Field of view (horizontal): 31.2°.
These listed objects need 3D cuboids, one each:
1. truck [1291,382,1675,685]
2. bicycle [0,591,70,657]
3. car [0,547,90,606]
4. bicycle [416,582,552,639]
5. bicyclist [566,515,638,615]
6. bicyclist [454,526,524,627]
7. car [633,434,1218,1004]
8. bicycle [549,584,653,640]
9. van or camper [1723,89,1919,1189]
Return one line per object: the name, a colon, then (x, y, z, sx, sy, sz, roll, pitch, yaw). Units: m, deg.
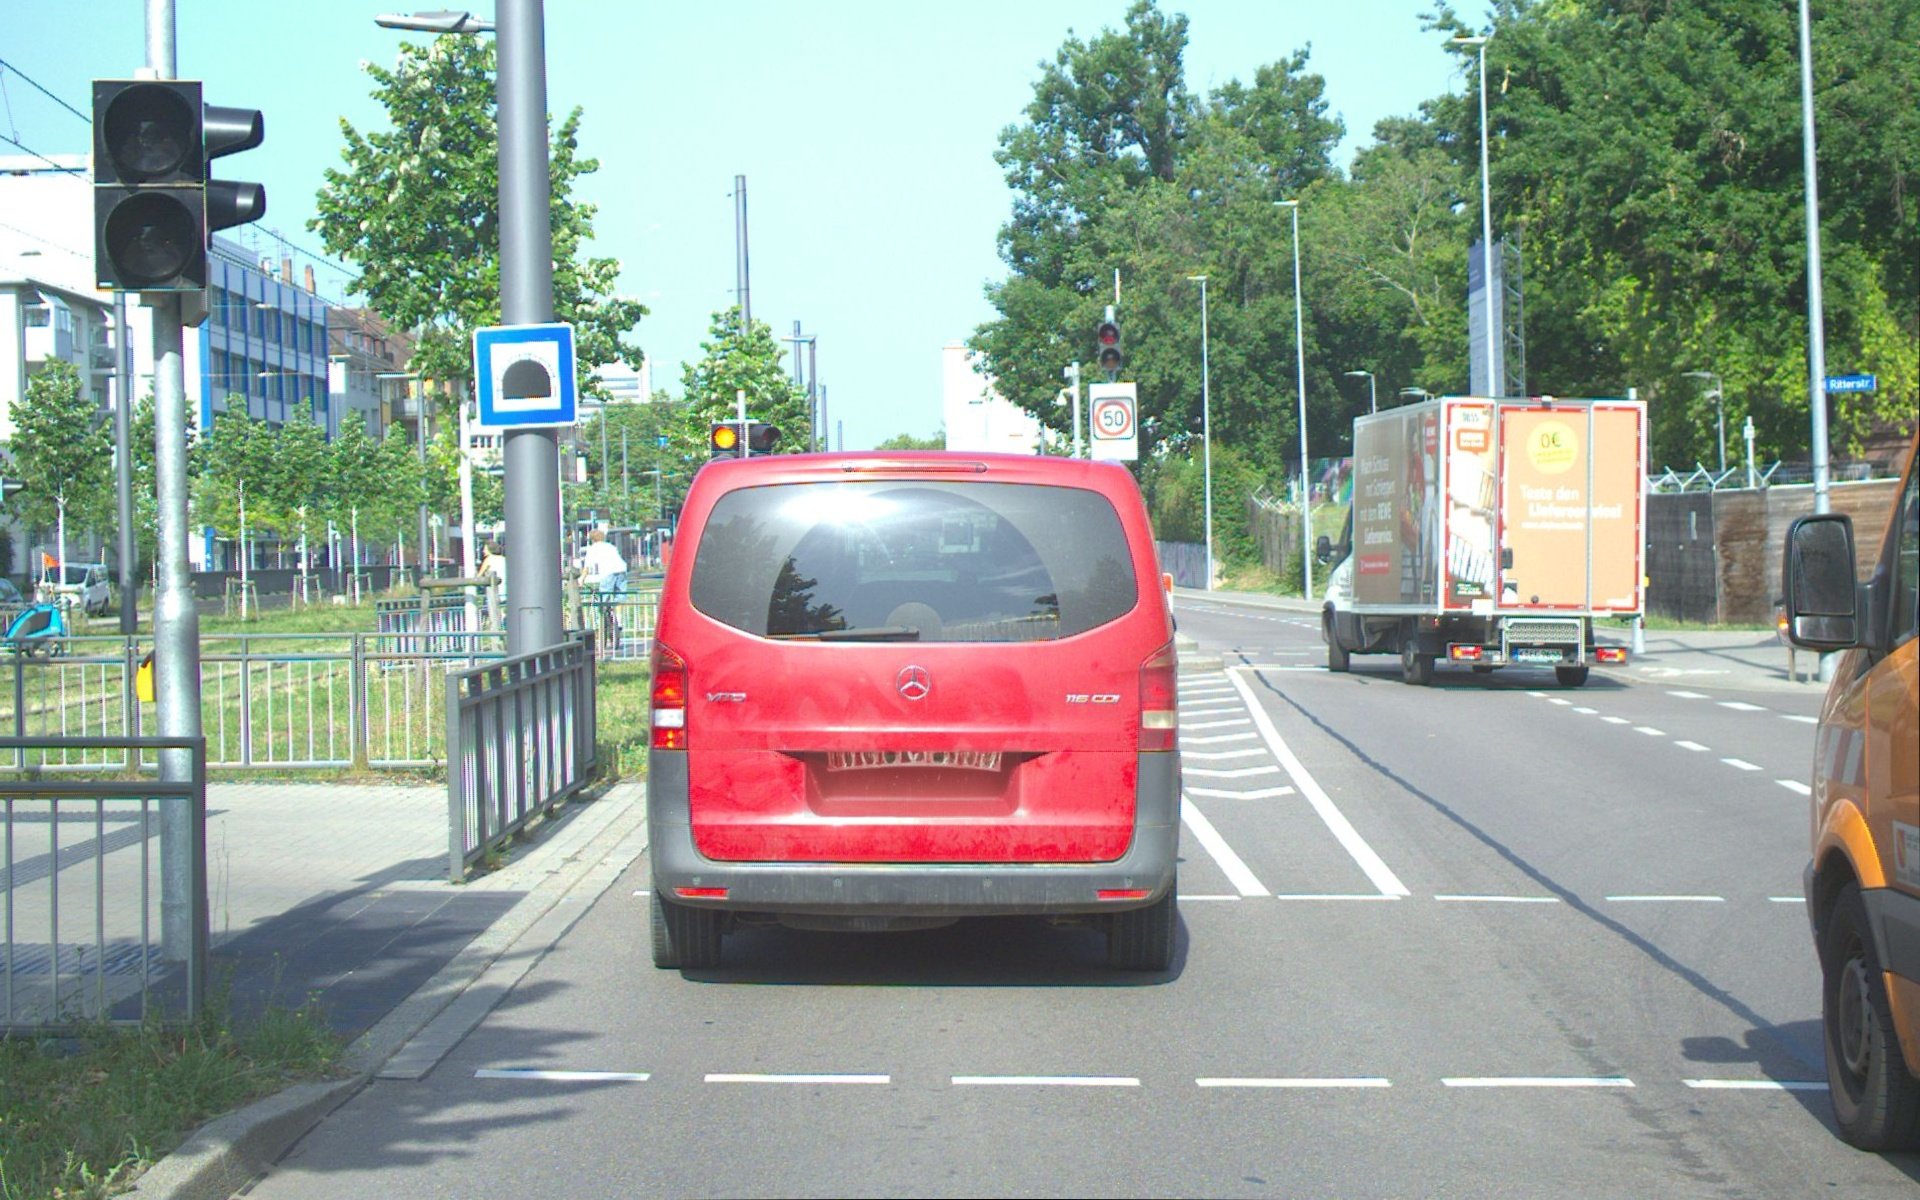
truck: (5.717, -0.709, 38.941, 2.501, 3.050, 7.821, 1, 0, -5)
bicycle: (-15.071, 0.386, 52.189, 2.987, 0.962, 0.900, -1, 1, -13)
car: (-33.705, -0.843, 126.377, 2.249, 2.007, 5.263, 1, -1, -2)
bicycle: (-7.223, 0.153, 52.235, 1.996, 0.791, 0.629, -2, 1, -5)
bicyclist: (-5.198, -0.506, 49.938, 0.686, 1.435, 0.804, 1, 0, 28)
bicyclist: (-7.153, -0.364, 52.232, 0.983, 1.495, 0.621, -2, 1, -5)
car: (-0.131, 0.357, 13.268, 1.901, 1.853, 4.000, 0, 1, 0)
bicycle: (-5.208, 0.167, 49.944, 0.719, 0.795, 1.601, 1, 0, 28)
van or camper: (3.144, 0.115, 6.603, 1.986, 2.463, 6.062, 1, 1, 0)
